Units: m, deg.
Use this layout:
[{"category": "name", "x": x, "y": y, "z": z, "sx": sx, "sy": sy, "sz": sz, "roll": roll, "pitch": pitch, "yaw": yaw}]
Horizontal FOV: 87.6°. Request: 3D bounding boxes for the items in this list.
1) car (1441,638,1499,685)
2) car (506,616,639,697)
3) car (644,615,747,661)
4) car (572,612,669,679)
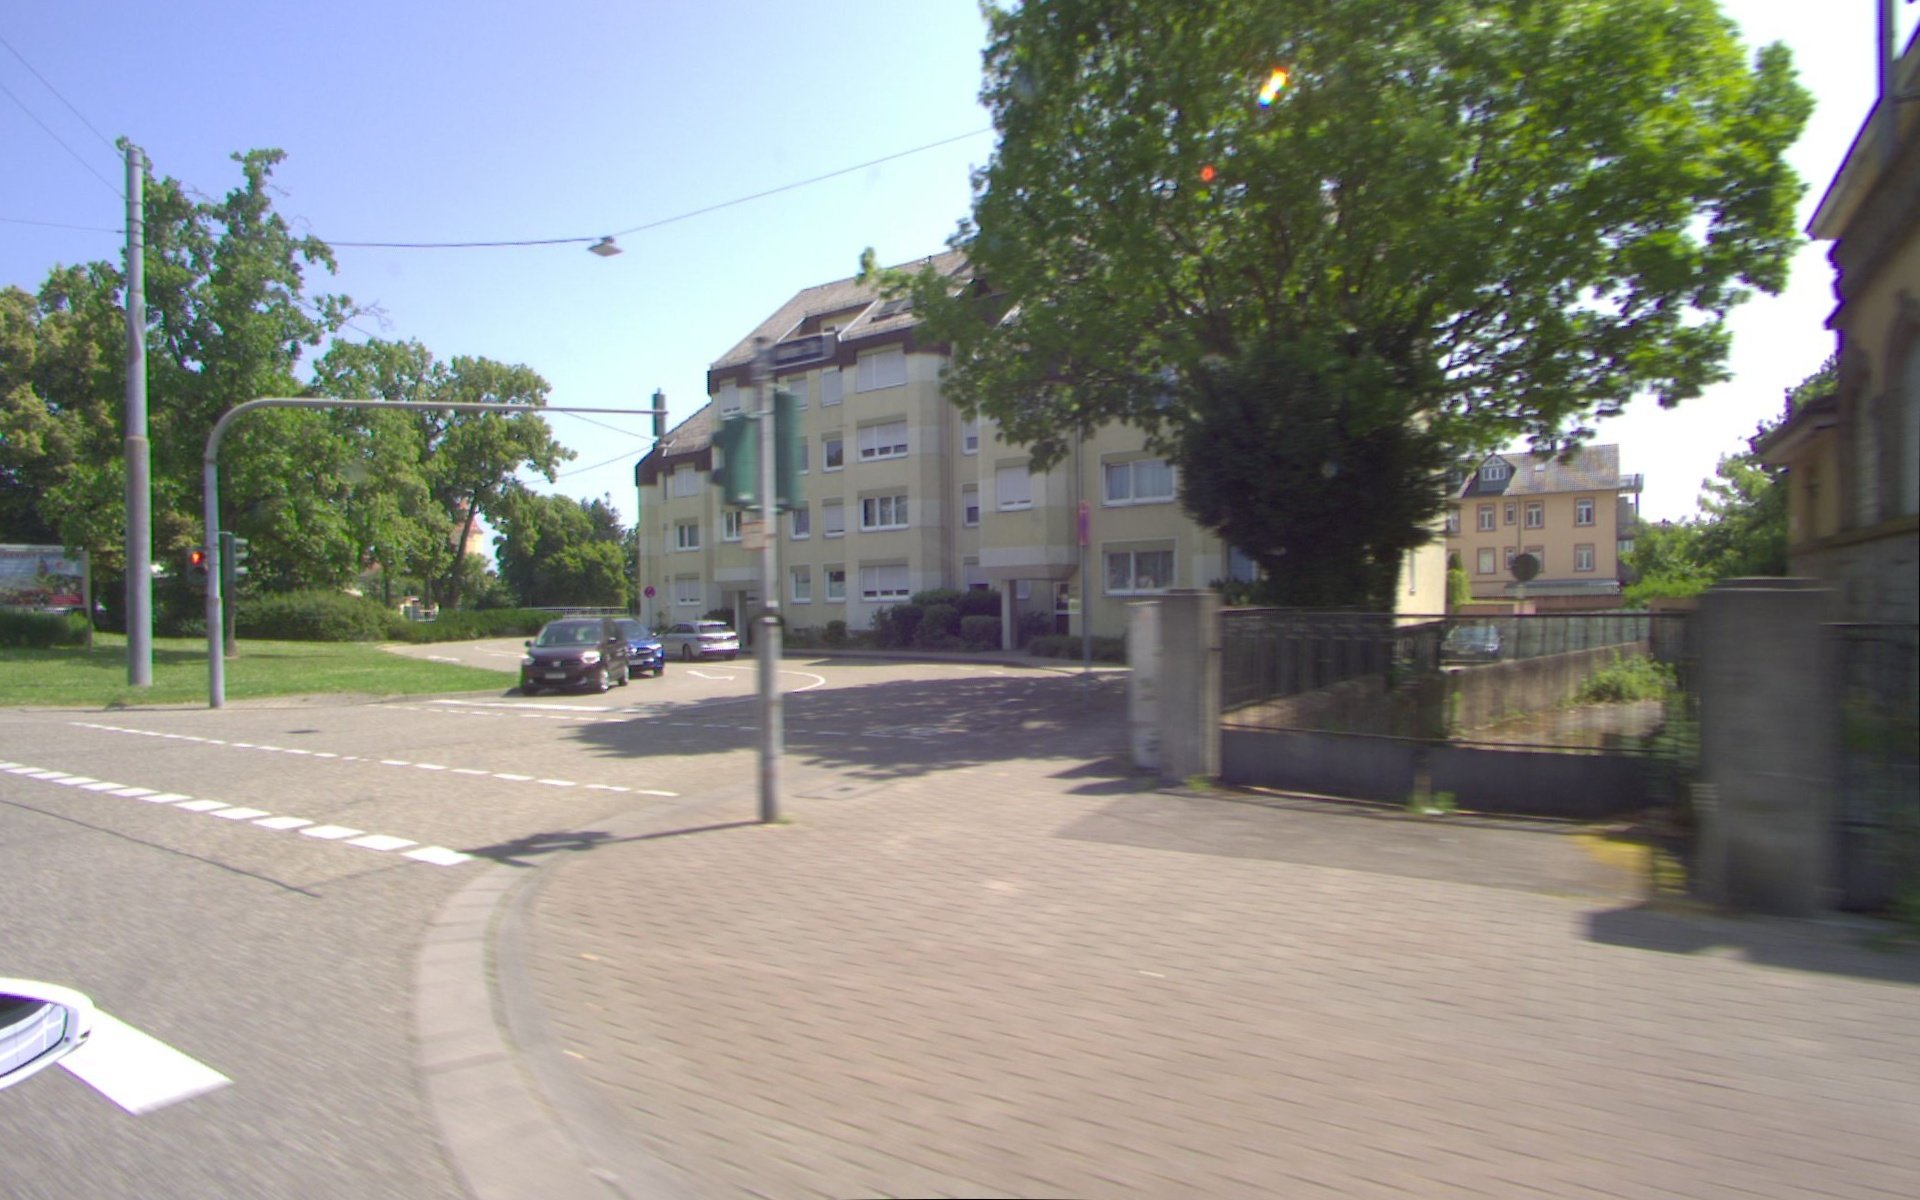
[{"category": "car", "x": 17.618, "y": 2.090, "z": 34.544, "sx": 1.388, "sy": 1.492, "sz": 3.527, "roll": -1, "pitch": -1, "yaw": 34}, {"category": "car", "x": -8.810, "y": 1.228, "z": 23.197, "sx": 1.881, "sy": 1.653, "sz": 4.817, "roll": -1, "pitch": -1, "yaw": -9}, {"category": "car", "x": -9.617, "y": 1.348, "z": 36.192, "sx": 1.877, "sy": 1.519, "sz": 4.492, "roll": -1, "pitch": 0, "yaw": -40}, {"category": "car", "x": -9.962, "y": 1.267, "z": 29.160, "sx": 1.969, "sy": 1.723, "sz": 4.748, "roll": -1, "pitch": -1, "yaw": -27}]
